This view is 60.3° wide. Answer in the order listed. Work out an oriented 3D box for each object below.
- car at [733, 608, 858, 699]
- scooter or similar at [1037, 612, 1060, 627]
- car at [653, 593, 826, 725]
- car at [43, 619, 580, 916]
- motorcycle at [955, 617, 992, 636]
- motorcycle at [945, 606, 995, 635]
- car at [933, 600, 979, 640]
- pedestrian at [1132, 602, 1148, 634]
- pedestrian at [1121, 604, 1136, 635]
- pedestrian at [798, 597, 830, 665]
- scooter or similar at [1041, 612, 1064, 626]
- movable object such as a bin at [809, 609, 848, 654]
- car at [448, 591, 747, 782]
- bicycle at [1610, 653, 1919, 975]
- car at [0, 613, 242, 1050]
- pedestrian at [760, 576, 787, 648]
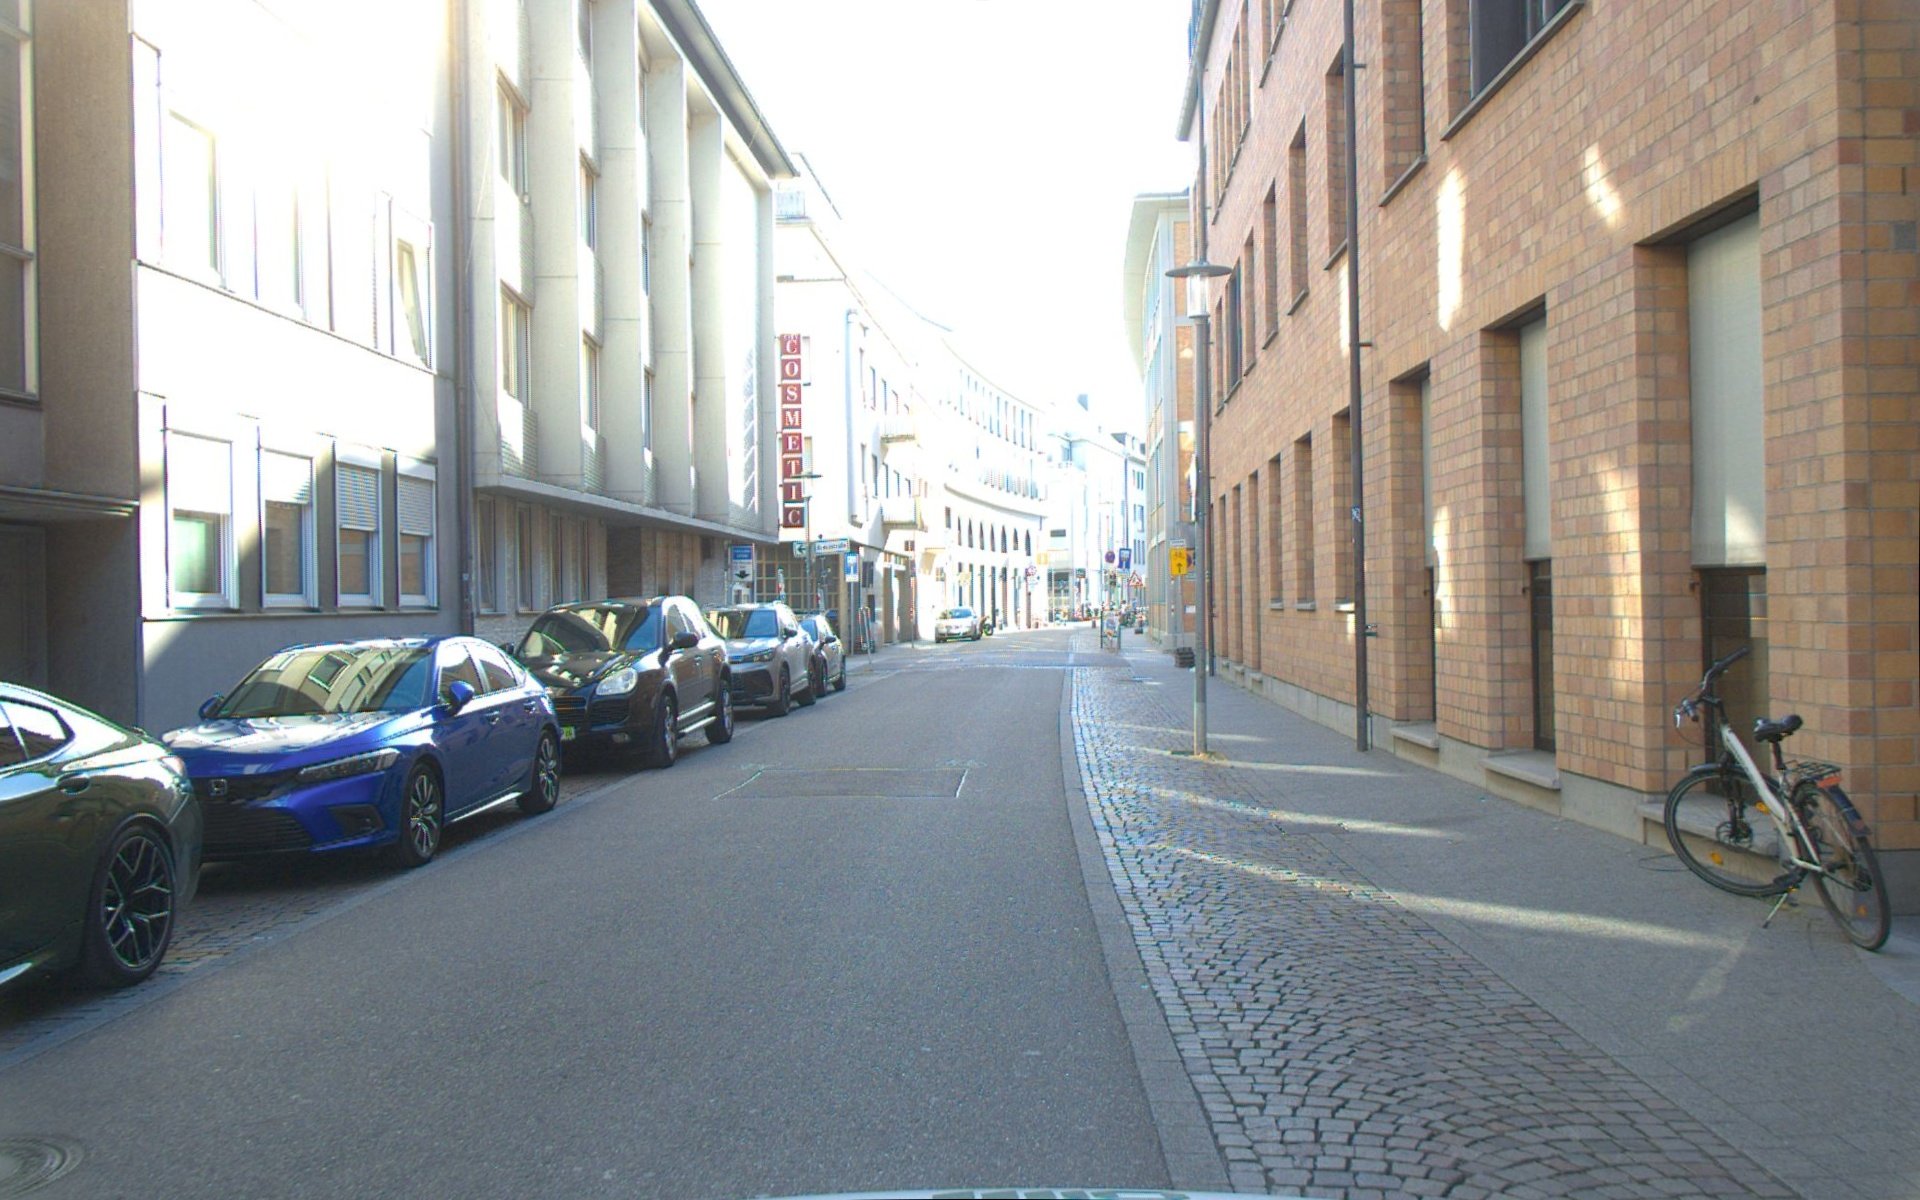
[{"bbox_3d":[-3.004,0.946,30.981,1.614,1.486,4.001,-4,0,4],"label":"car"},{"bbox_3d":[6.091,1.333,113.330,0.516,0.944,2.221,0,0,33],"label":"scooter or similar"},{"bbox_3d":[-3.232,0.813,25.116,1.851,1.772,4.392,-2,0,2],"label":"car"},{"bbox_3d":[-4.160,0.972,11.489,1.851,1.557,4.341,-2,0,2],"label":"car"},{"bbox_3d":[0.641,1.240,78.086,1.655,0.874,0.595,1,-1,9],"label":"motorcycle"},{"bbox_3d":[0.505,1.025,82.008,2.340,1.340,0.862,-2,0,4],"label":"motorcycle"},{"bbox_3d":[-0.146,0.834,70.579,1.700,1.634,3.534,0,0,4],"label":"car"},{"bbox_3d":[10.671,1.052,98.040,0.651,1.901,0.754,1,-1,-26],"label":"pedestrian"},{"bbox_3d":[10.553,1.214,103.541,0.651,1.901,0.780,1,-1,-26],"label":"pedestrian"},{"bbox_3d":[-3.592,0.761,40.754,0.640,1.654,0.451,-1,0,-38],"label":"pedestrian"},{"bbox_3d":[6.504,1.353,116.339,0.516,0.944,2.221,0,0,33],"label":"scooter or similar"},{"bbox_3d":[-4.287,1.016,53.862,0.926,1.445,0.871,2,-1,-43],"label":"movable object such as a bin"},{"bbox_3d":[-3.633,0.787,17.479,1.850,1.705,4.556,-2,0,4],"label":"car"},{"bbox_3d":[3.596,0.847,7.310,0.539,1.122,1.981,-4,0,-2],"label":"bicycle"},{"bbox_3d":[-4.454,0.907,5.524,1.851,1.556,4.730,-3,0,2],"label":"car"},{"bbox_3d":[-4.656,0.293,41.293,0.439,1.769,0.552,-1,0,27],"label":"pedestrian"}]
